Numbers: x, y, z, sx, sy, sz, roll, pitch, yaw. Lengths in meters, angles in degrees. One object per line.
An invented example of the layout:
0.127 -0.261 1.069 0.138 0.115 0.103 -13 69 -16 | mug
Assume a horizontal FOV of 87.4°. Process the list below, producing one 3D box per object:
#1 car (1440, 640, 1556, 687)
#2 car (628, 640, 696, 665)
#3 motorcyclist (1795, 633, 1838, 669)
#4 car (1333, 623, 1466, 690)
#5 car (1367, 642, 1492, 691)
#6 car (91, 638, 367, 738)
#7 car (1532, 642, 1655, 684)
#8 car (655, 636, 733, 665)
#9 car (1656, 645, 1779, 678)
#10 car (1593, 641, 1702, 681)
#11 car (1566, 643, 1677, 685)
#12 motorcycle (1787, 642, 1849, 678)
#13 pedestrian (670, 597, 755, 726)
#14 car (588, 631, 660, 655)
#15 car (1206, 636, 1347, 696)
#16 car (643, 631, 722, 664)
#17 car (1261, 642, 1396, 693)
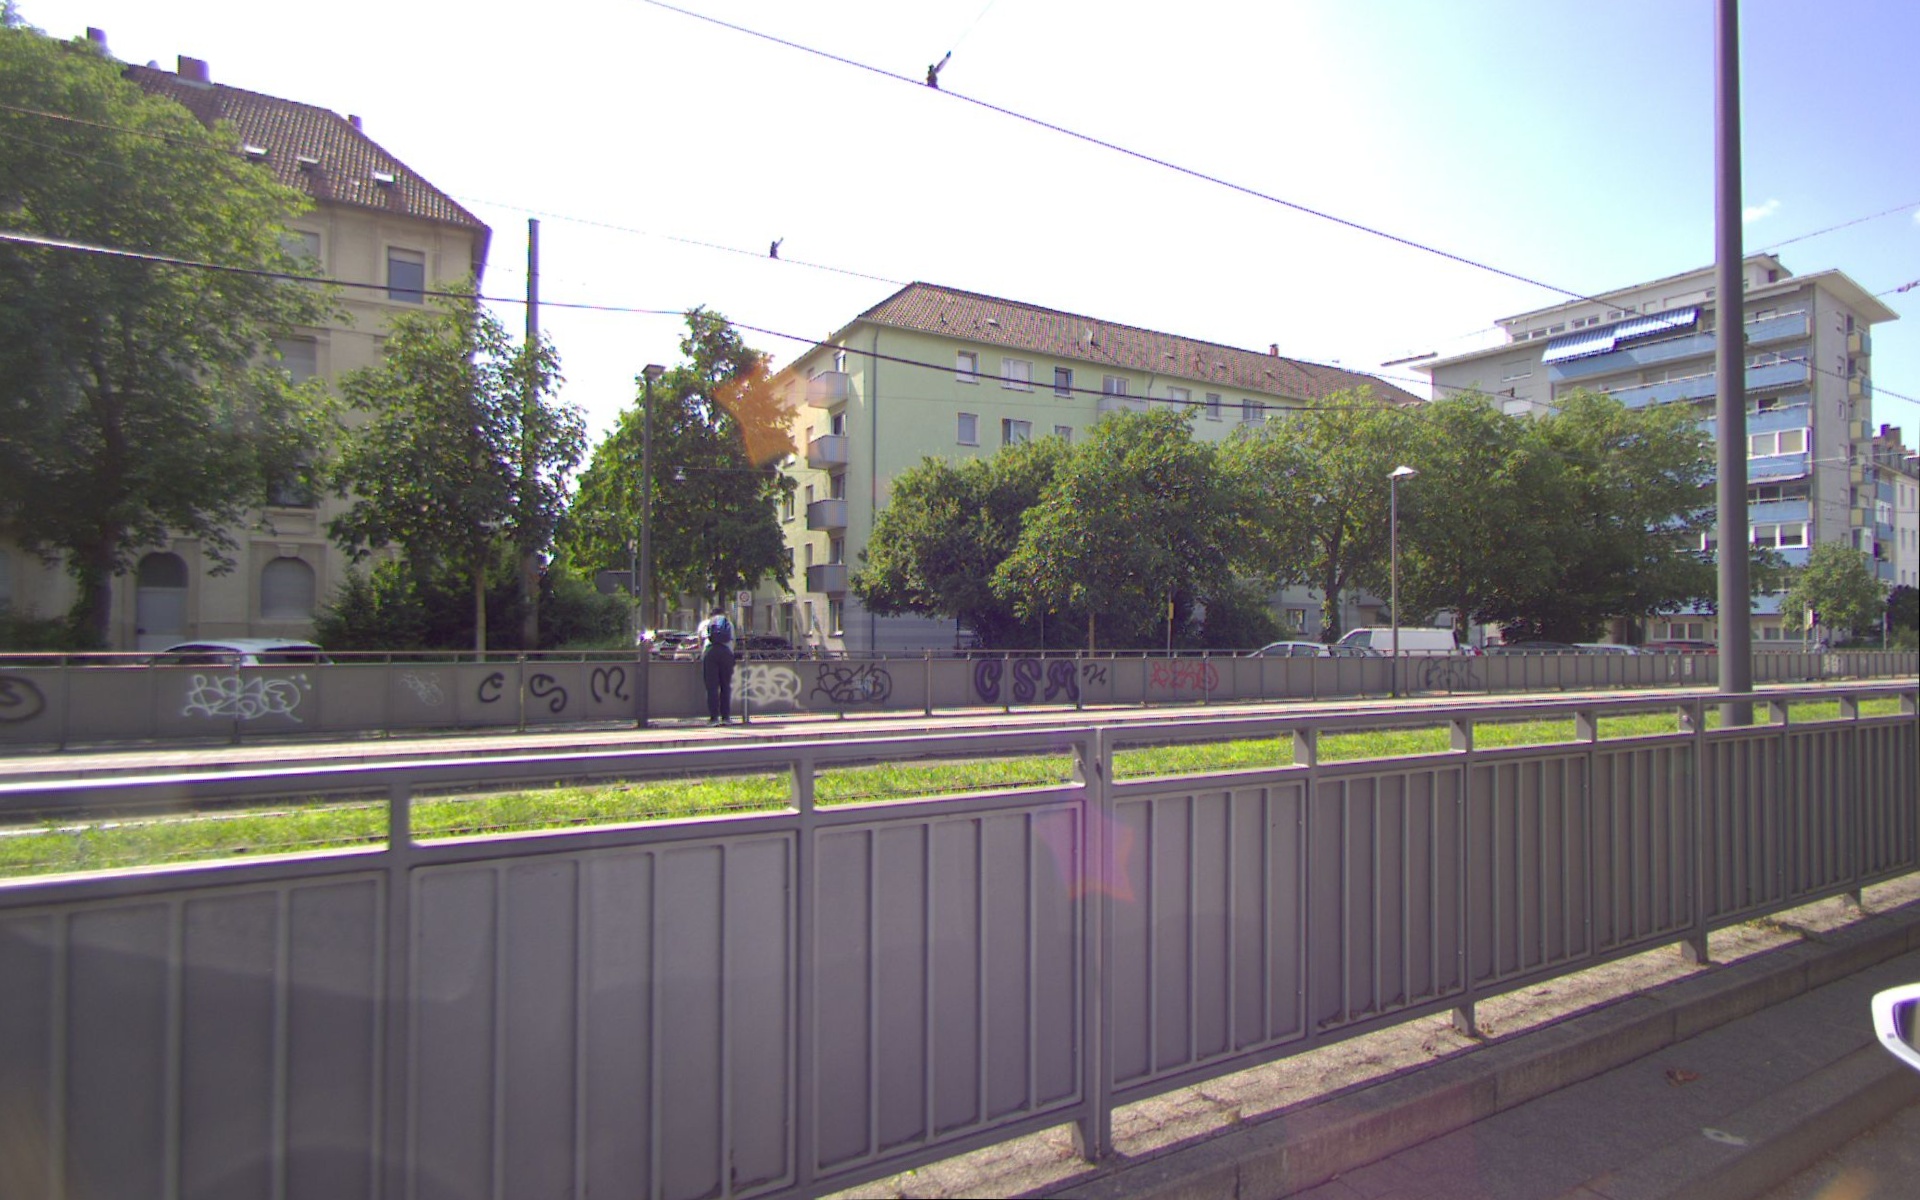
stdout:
19.390 2.257 36.291 3.601 1.600 1.646 -1 -2 30 | car
-16.065 2.828 54.331 1.549 1.340 3.614 -1 -3 24 | car
32.754 1.946 38.426 0.974 1.357 0.934 1 -3 -29 | motorcyclist
14.596 1.841 33.380 3.881 2.097 2.047 -1 -2 29 | car
16.462 2.297 35.223 3.880 1.600 1.716 -1 -2 29 | car
-12.779 1.473 17.597 4.071 1.585 1.927 -1 -3 20 | car
24.540 2.414 39.078 3.957 1.534 1.606 -1 -2 31 | car
-13.015 2.475 49.454 1.549 1.340 3.998 -1 -3 24 | car
33.582 2.712 44.642 4.054 1.412 1.609 -1 -2 22 | car
28.669 2.517 41.988 3.601 1.600 1.646 -1 -2 30 | car
26.638 2.545 40.593 3.601 1.600 1.646 -1 -2 30 | car
32.822 2.279 38.403 2.487 1.357 1.010 1 -3 -30 | motorcycle
-3.236 0.786 13.100 0.790 1.599 0.983 2 -3 -32 | pedestrian
-20.041 2.545 60.019 1.838 1.383 3.998 -1 -3 24 | car
9.656 1.965 30.647 3.923 1.661 1.826 -1 -1 24 | car
-14.324 2.459 52.110 1.838 1.639 3.998 -1 -3 24 | car
11.815 2.126 32.239 3.926 1.505 1.608 -1 -2 27 | car
